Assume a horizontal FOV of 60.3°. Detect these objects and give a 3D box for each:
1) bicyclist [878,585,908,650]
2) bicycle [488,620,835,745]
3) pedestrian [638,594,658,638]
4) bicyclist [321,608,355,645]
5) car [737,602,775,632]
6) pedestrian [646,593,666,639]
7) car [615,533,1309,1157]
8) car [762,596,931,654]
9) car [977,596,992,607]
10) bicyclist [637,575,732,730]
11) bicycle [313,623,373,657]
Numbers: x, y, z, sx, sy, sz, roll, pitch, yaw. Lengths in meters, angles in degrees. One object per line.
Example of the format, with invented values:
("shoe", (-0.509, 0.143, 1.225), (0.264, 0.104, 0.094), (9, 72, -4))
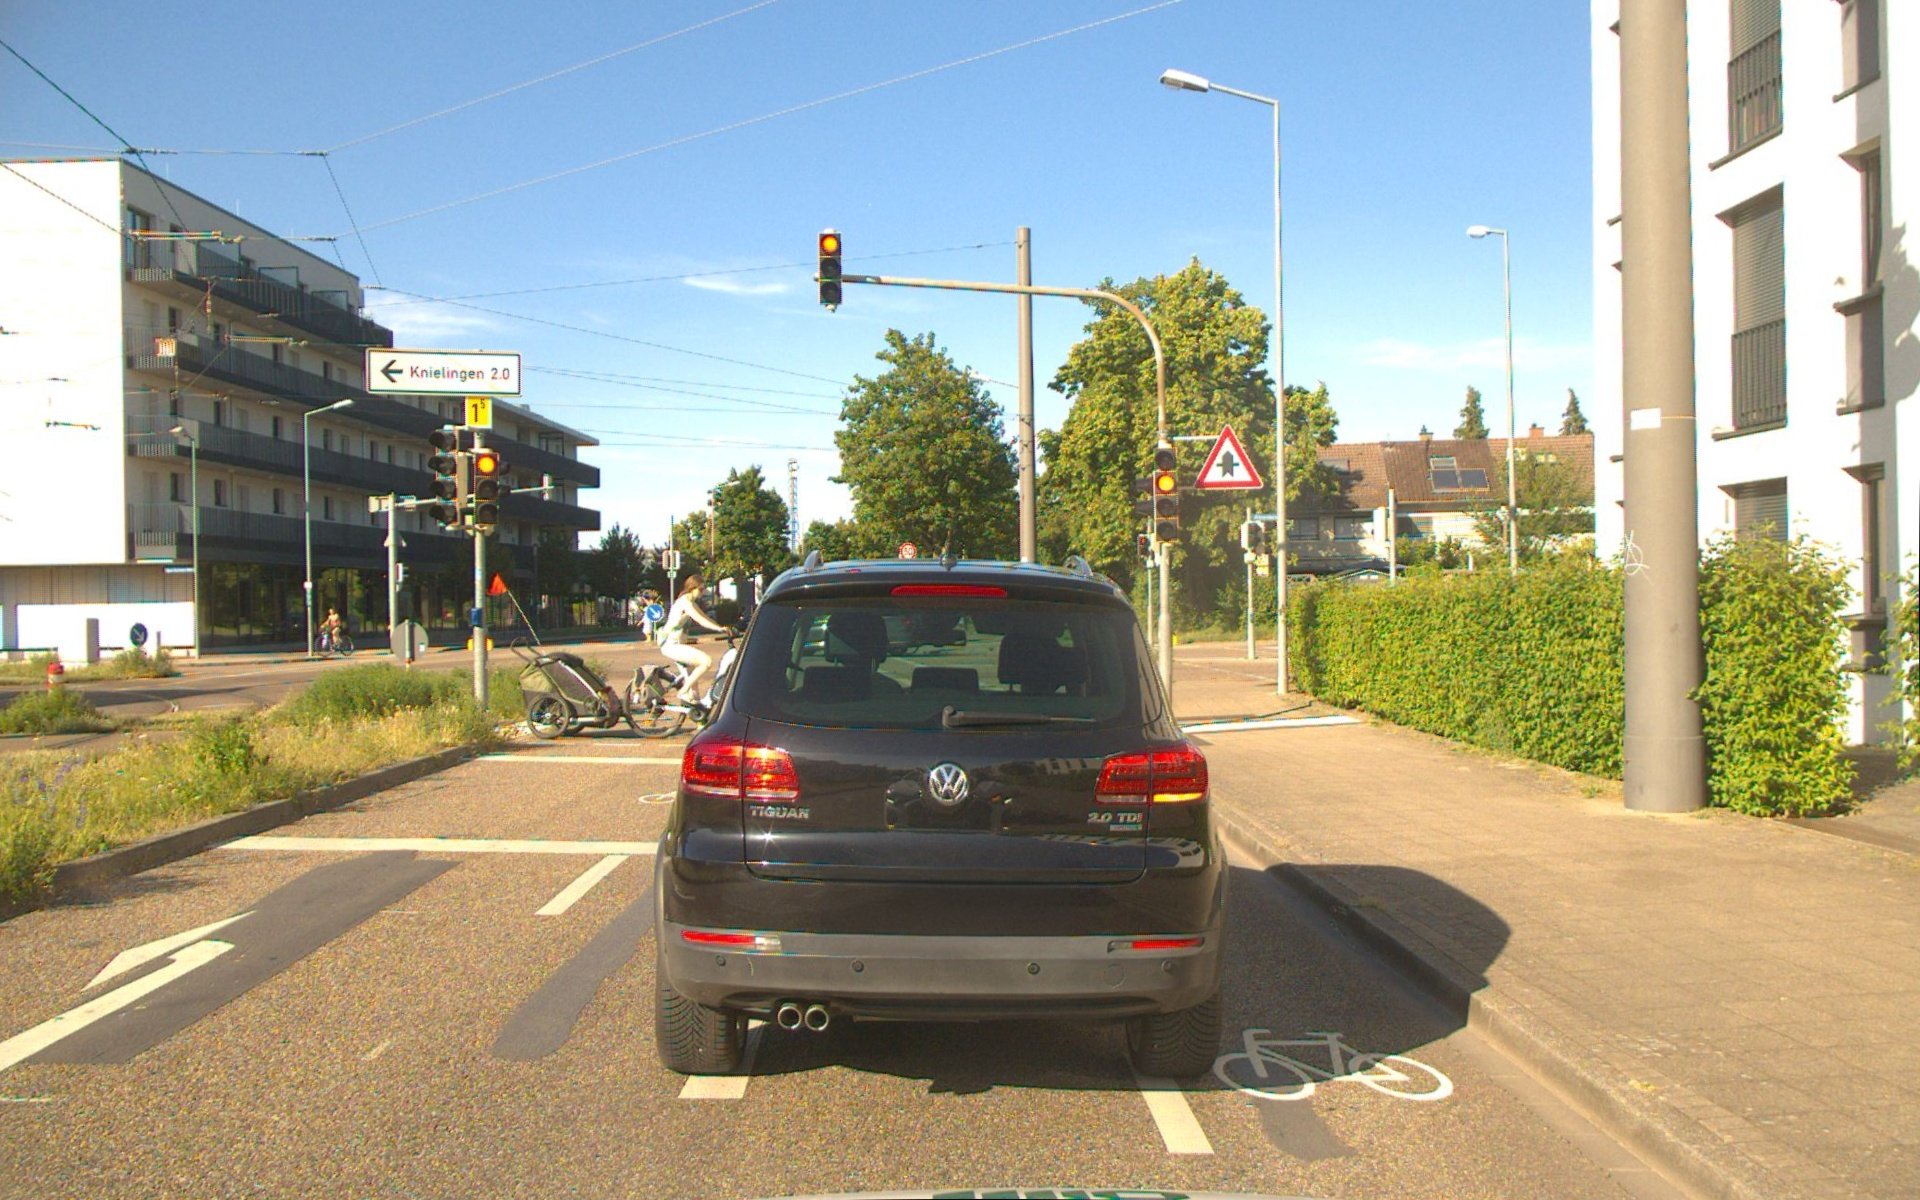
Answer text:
("bicyclist", (-1.939, 0.503, 47.893), (0.786, 1.838, 0.684), (0, 0, 3))
("bicycle", (-3.236, 0.894, 18.265), (3.609, 1.195, 0.999), (2, 0, -2))
("pedestrian", (-11.211, 0.565, 59.429), (0.590, 1.592, 0.529), (0, 0, 4))
("bicyclist", (-21.616, 0.902, 57.480), (0.823, 1.257, 0.743), (0, 0, 24))
("car", (-11.914, 0.990, 96.682), (1.621, 1.668, 4.001), (0, 0, 1))
("pedestrian", (-11.061, 0.575, 60.153), (0.590, 1.668, 0.529), (0, 0, 4))
("car", (-0.057, 0.658, 6.473), (1.867, 1.671, 3.998), (0, 0, -2))
("car", (-3.072, 0.657, 45.482), (4.403, 1.530, 2.001), (0, 0, 3))
("car", (3.230, 0.189, 215.349), (1.716, 1.411, 3.998), (0, 0, -2))
("bicyclist", (-3.027, 0.565, 18.255), (0.891, 1.658, 0.976), (0, 0, -2))
("bicycle", (-21.505, 1.381, 57.664), (0.947, 1.104, 1.834), (0, 0, 23))
